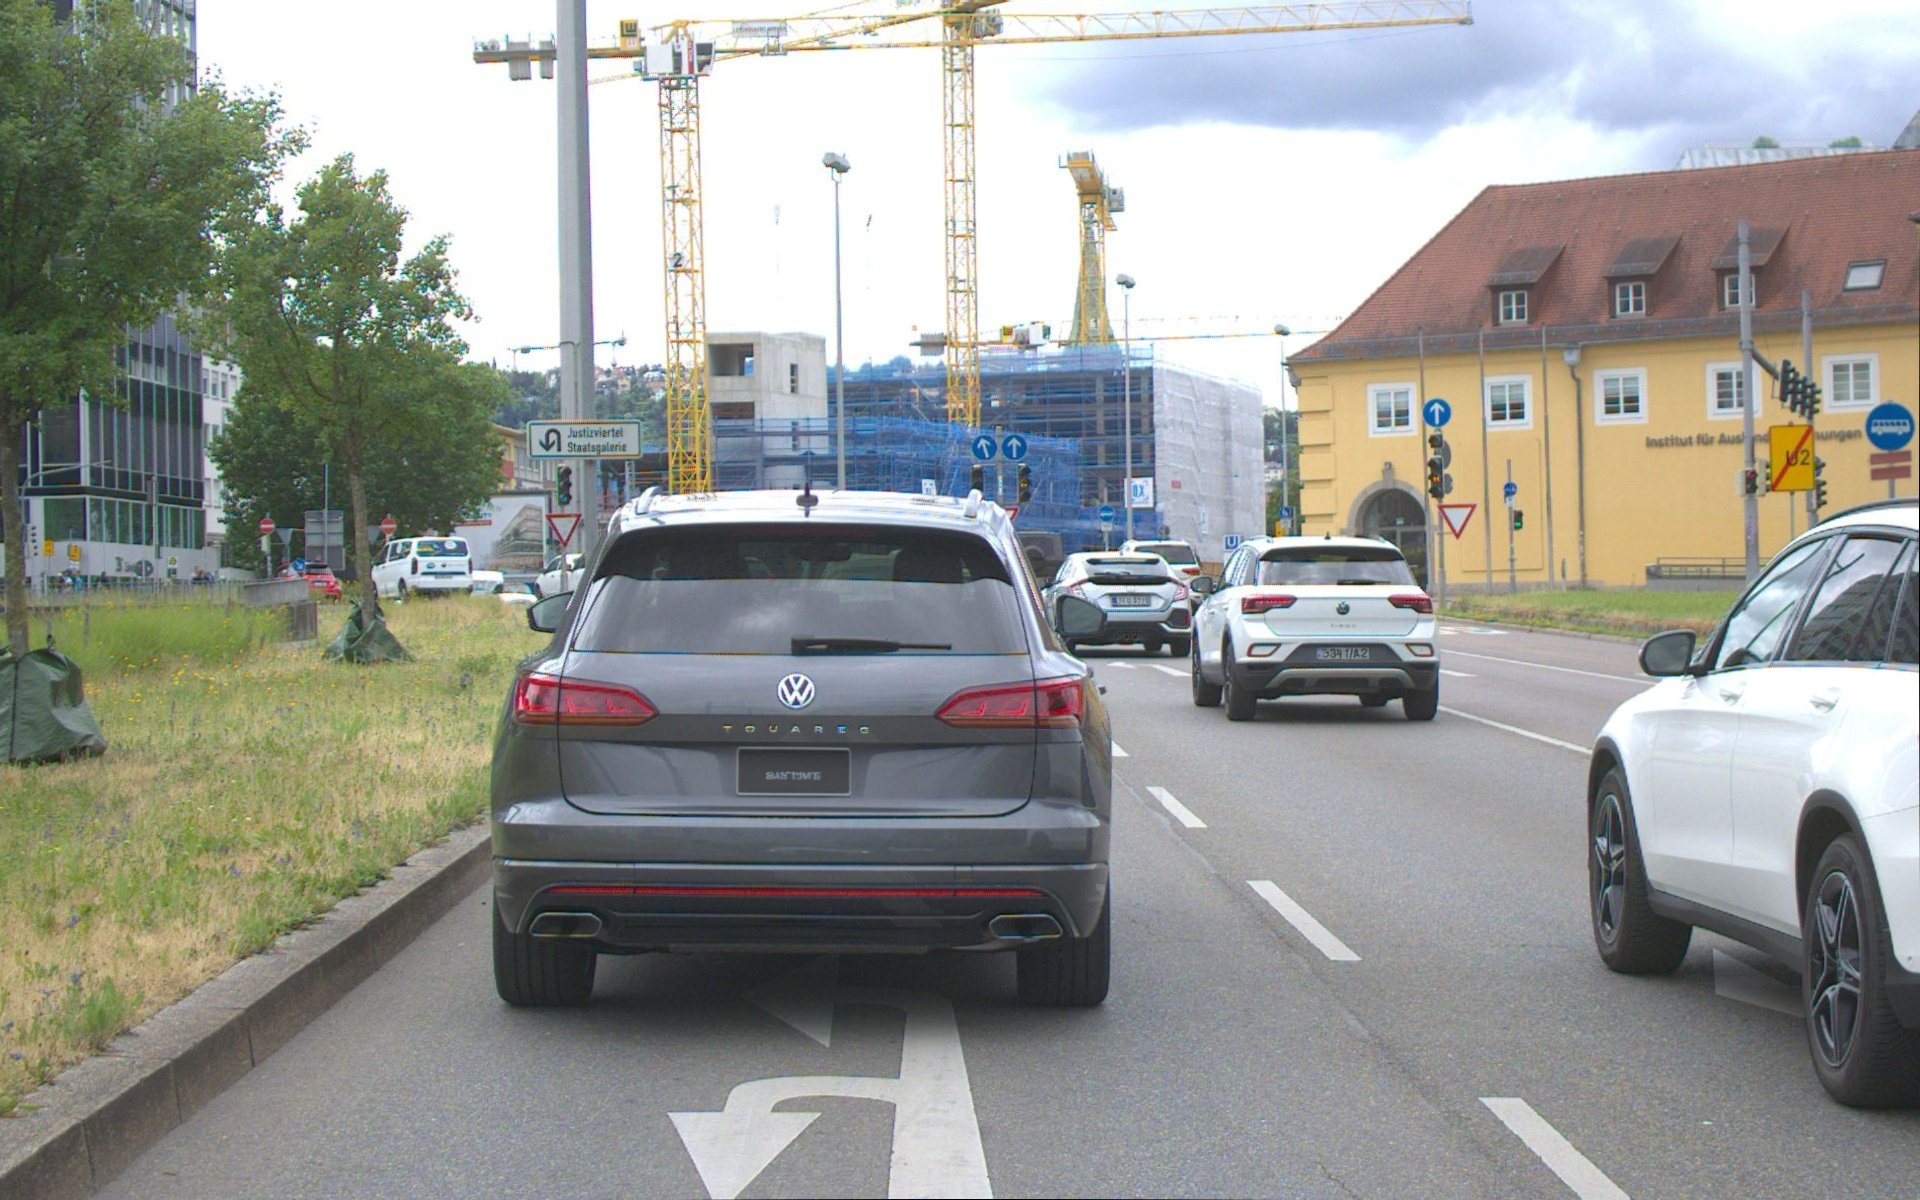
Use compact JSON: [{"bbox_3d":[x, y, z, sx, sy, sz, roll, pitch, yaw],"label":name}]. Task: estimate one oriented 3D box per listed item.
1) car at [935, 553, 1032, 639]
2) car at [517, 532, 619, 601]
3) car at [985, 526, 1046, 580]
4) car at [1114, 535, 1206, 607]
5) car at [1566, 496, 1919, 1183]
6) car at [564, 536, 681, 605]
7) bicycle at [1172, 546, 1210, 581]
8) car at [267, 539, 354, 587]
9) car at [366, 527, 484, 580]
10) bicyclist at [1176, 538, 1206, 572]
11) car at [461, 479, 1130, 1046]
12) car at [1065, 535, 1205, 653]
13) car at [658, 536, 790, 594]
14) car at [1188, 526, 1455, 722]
[{"bbox_3d":[0.471,-0.105,64.998,1.719,1.497,3.981,0,2,2],"label":"car"},{"bbox_3d":[-11.459,-1.010,100.401,1.893,1.605,4.002,-2,7,-23],"label":"car"},{"bbox_3d":[1.601,-1.385,99.795,1.719,1.497,3.981,0,2,0],"label":"car"},{"bbox_3d":[4.369,-0.665,75.493,1.803,1.497,3.981,0,2,0],"label":"car"},{"bbox_3d":[3.152,0.513,10.394,1.819,1.641,4.379,0,2,0],"label":"car"},{"bbox_3d":[-7.764,-0.701,78.840,1.814,1.491,3.907,0,2,-19],"label":"car"},{"bbox_3d":[7.849,-1.245,116.964,0.923,1.155,2.465,1,1,-5],"label":"bicycle"},{"bbox_3d":[-21.173,-1.215,112.019,1.718,1.497,3.982,0,1,-27],"label":"car"},{"bbox_3d":[-15.828,-1.387,101.538,2.244,1.497,4.612,-1,2,-25],"label":"car"},{"bbox_3d":[7.852,-1.525,116.960,0.923,1.155,0.725,1,1,-5],"label":"bicyclist"},{"bbox_3d":[-0.506,0.416,11.950,1.933,1.641,4.001,0,2,-1],"label":"car"},{"bbox_3d":[2.358,-0.117,47.155,1.719,1.497,4.144,0,2,0],"label":"car"},{"bbox_3d":[-5.805,-0.875,84.295,1.640,1.392,3.597,-1,1,-34],"label":"car"},{"bbox_3d":[3.085,0.159,30.045,1.893,1.580,3.801,0,2,-1],"label":"car"}]
